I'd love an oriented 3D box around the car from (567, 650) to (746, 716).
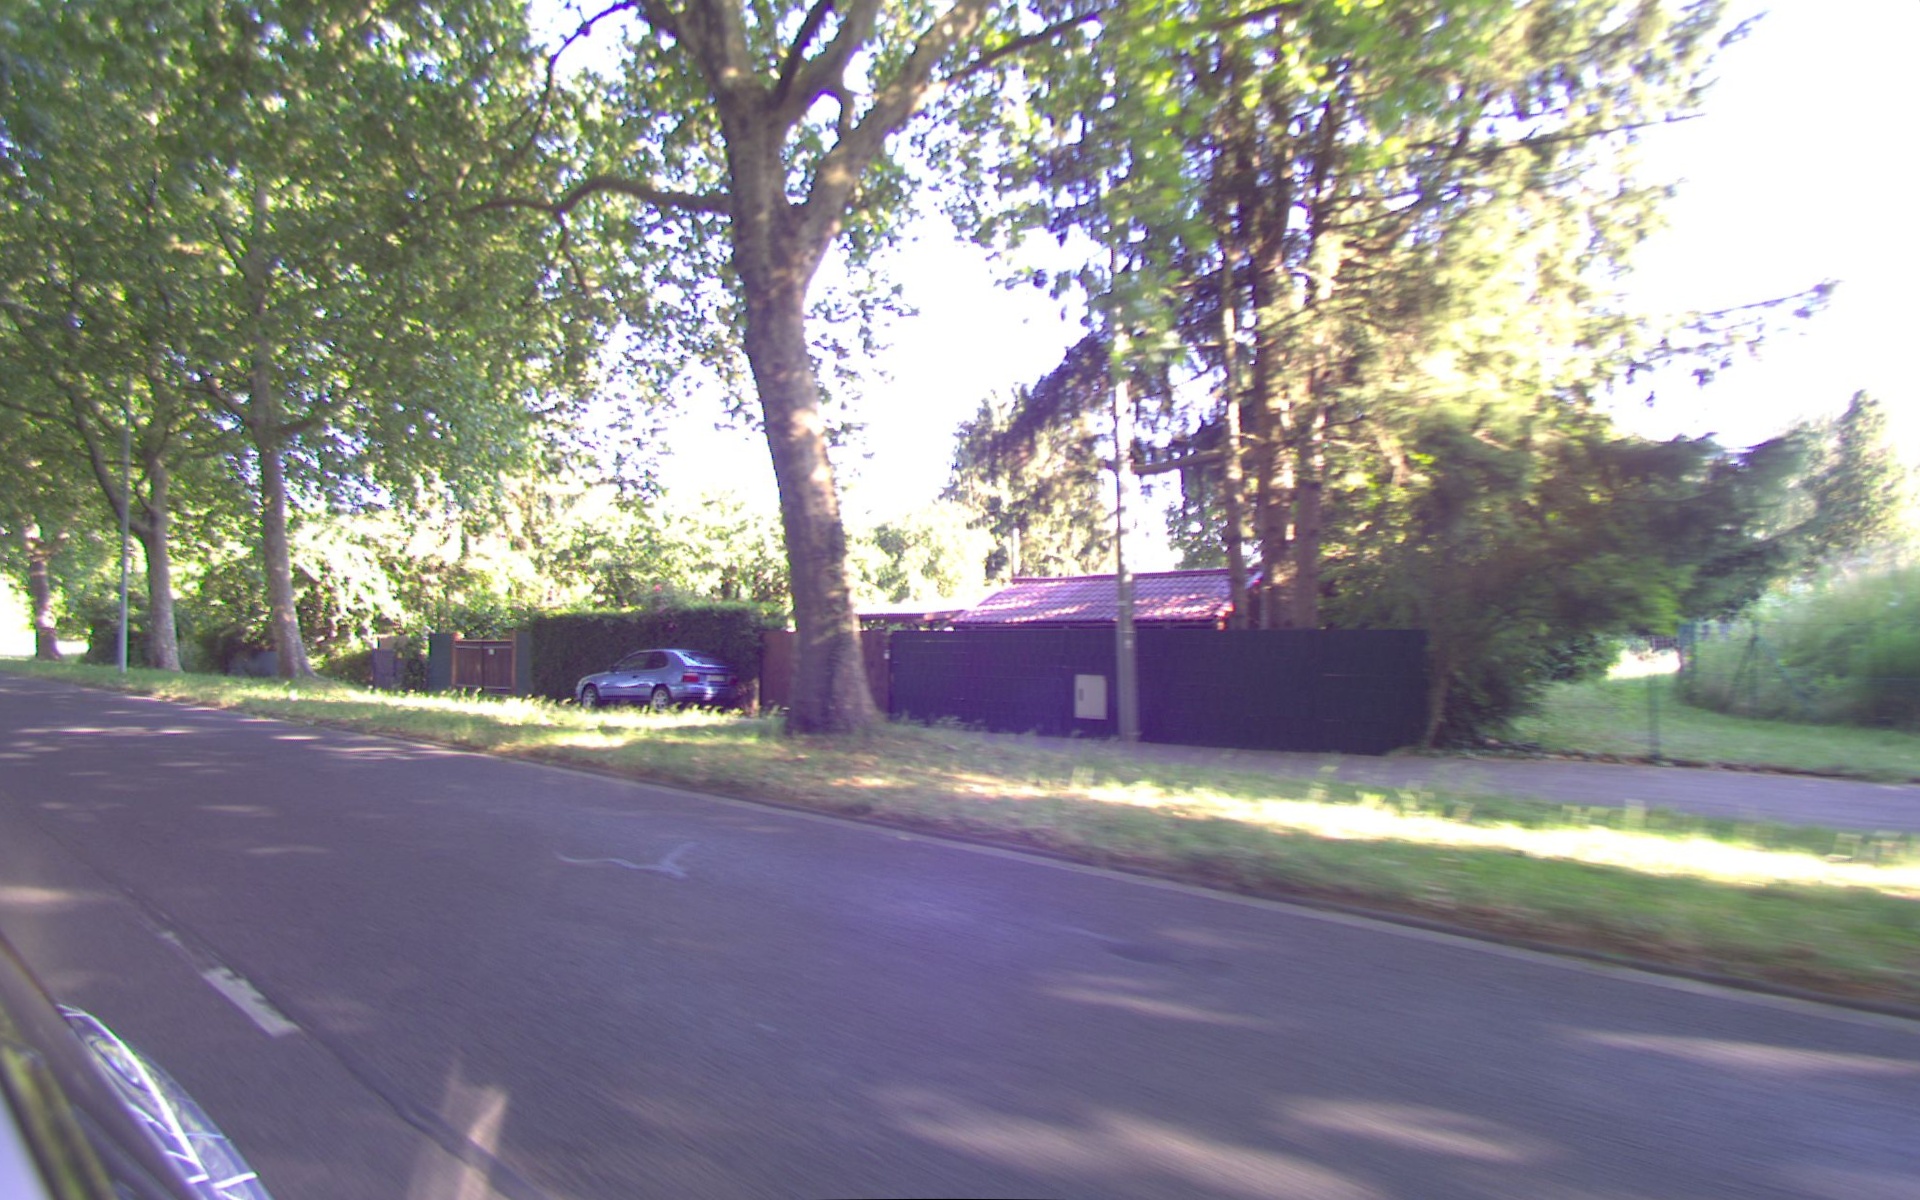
[{"bbox_3d":[-6.713,1.784,22.240,3.992,1.314,1.736,-3,-4,37],"label":"car"}]
